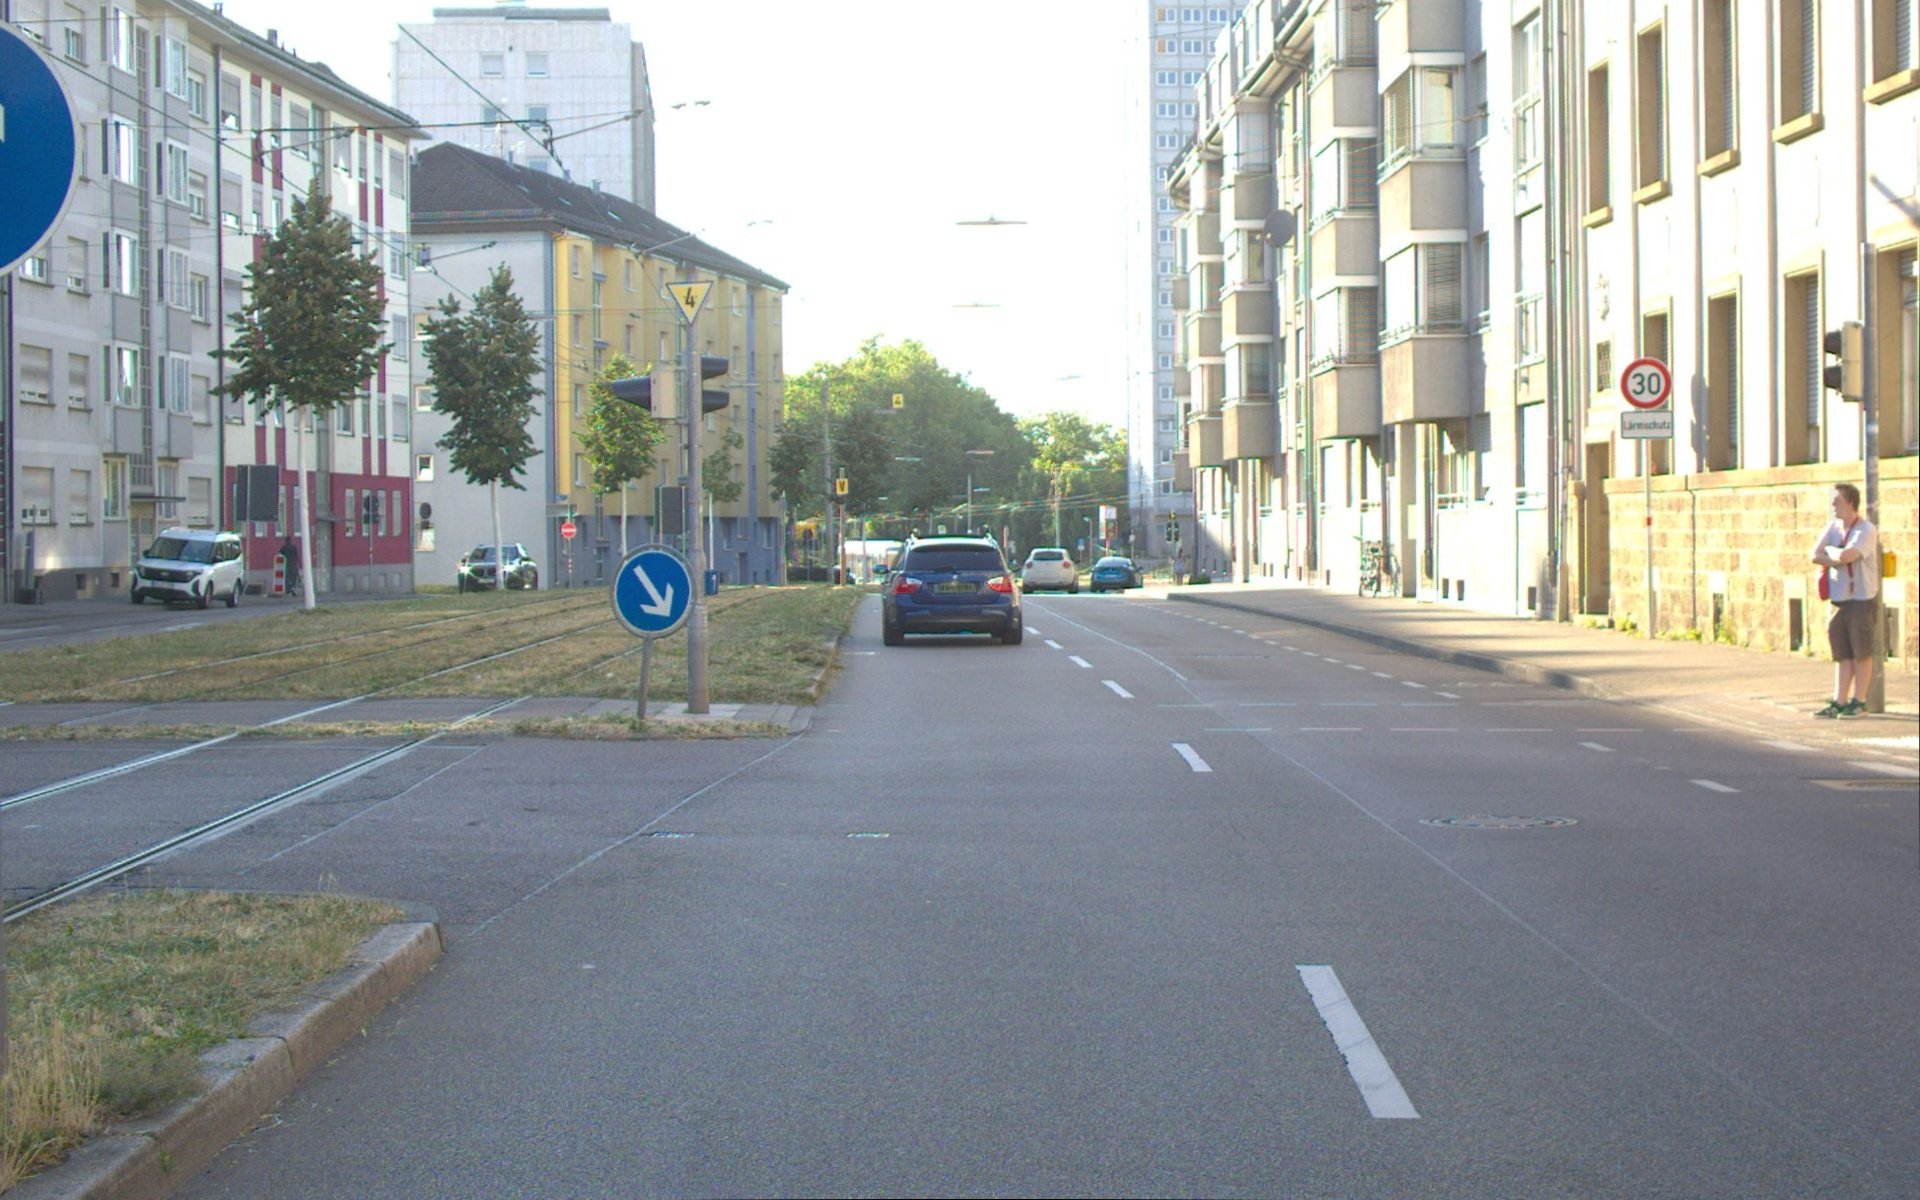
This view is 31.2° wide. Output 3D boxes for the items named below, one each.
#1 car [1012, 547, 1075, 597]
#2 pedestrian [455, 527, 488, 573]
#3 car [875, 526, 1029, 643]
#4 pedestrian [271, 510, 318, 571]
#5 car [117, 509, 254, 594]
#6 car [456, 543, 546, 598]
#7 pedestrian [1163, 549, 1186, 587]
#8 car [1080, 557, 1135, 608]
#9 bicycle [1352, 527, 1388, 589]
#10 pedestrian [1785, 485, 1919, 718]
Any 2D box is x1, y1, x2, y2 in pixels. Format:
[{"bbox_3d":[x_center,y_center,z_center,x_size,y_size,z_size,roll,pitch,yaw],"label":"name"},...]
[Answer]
[{"bbox_3d":[2.710,-0.924,112.553,1.993,1.558,4.000,1,1,1],"label":"car"},{"bbox_3d":[-17.920,-1.835,126.140,0.962,1.688,1.011,1,0,5],"label":"pedestrian"},{"bbox_3d":[-0.106,-0.218,45.696,1.926,1.451,4.328,1,1,0],"label":"car"},{"bbox_3d":[-19.348,-1.721,99.963,1.269,1.755,1.274,1,0,-10],"label":"pedestrian"},{"bbox_3d":[-18.341,-1.141,81.603,1.994,1.918,4.541,1,1,3],"label":"car"},{"bbox_3d":[-14.144,-0.924,106.183,1.897,1.628,4.747,-1,1,3],"label":"car"},{"bbox_3d":[7.077,-1.057,113.699,0.691,1.230,0.736,1,0,-1],"label":"pedestrian"},{"bbox_3d":[6.051,-0.733,141.373,1.993,2.007,4.000,-1,1,-1],"label":"car"},{"bbox_3d":[7.392,-0.759,62.046,0.383,1.092,1.504,-1,1,-3],"label":"bicycle"},{"bbox_3d":[6.868,0.007,26.412,0.835,1.756,0.824,1,0,-1],"label":"pedestrian"}]
